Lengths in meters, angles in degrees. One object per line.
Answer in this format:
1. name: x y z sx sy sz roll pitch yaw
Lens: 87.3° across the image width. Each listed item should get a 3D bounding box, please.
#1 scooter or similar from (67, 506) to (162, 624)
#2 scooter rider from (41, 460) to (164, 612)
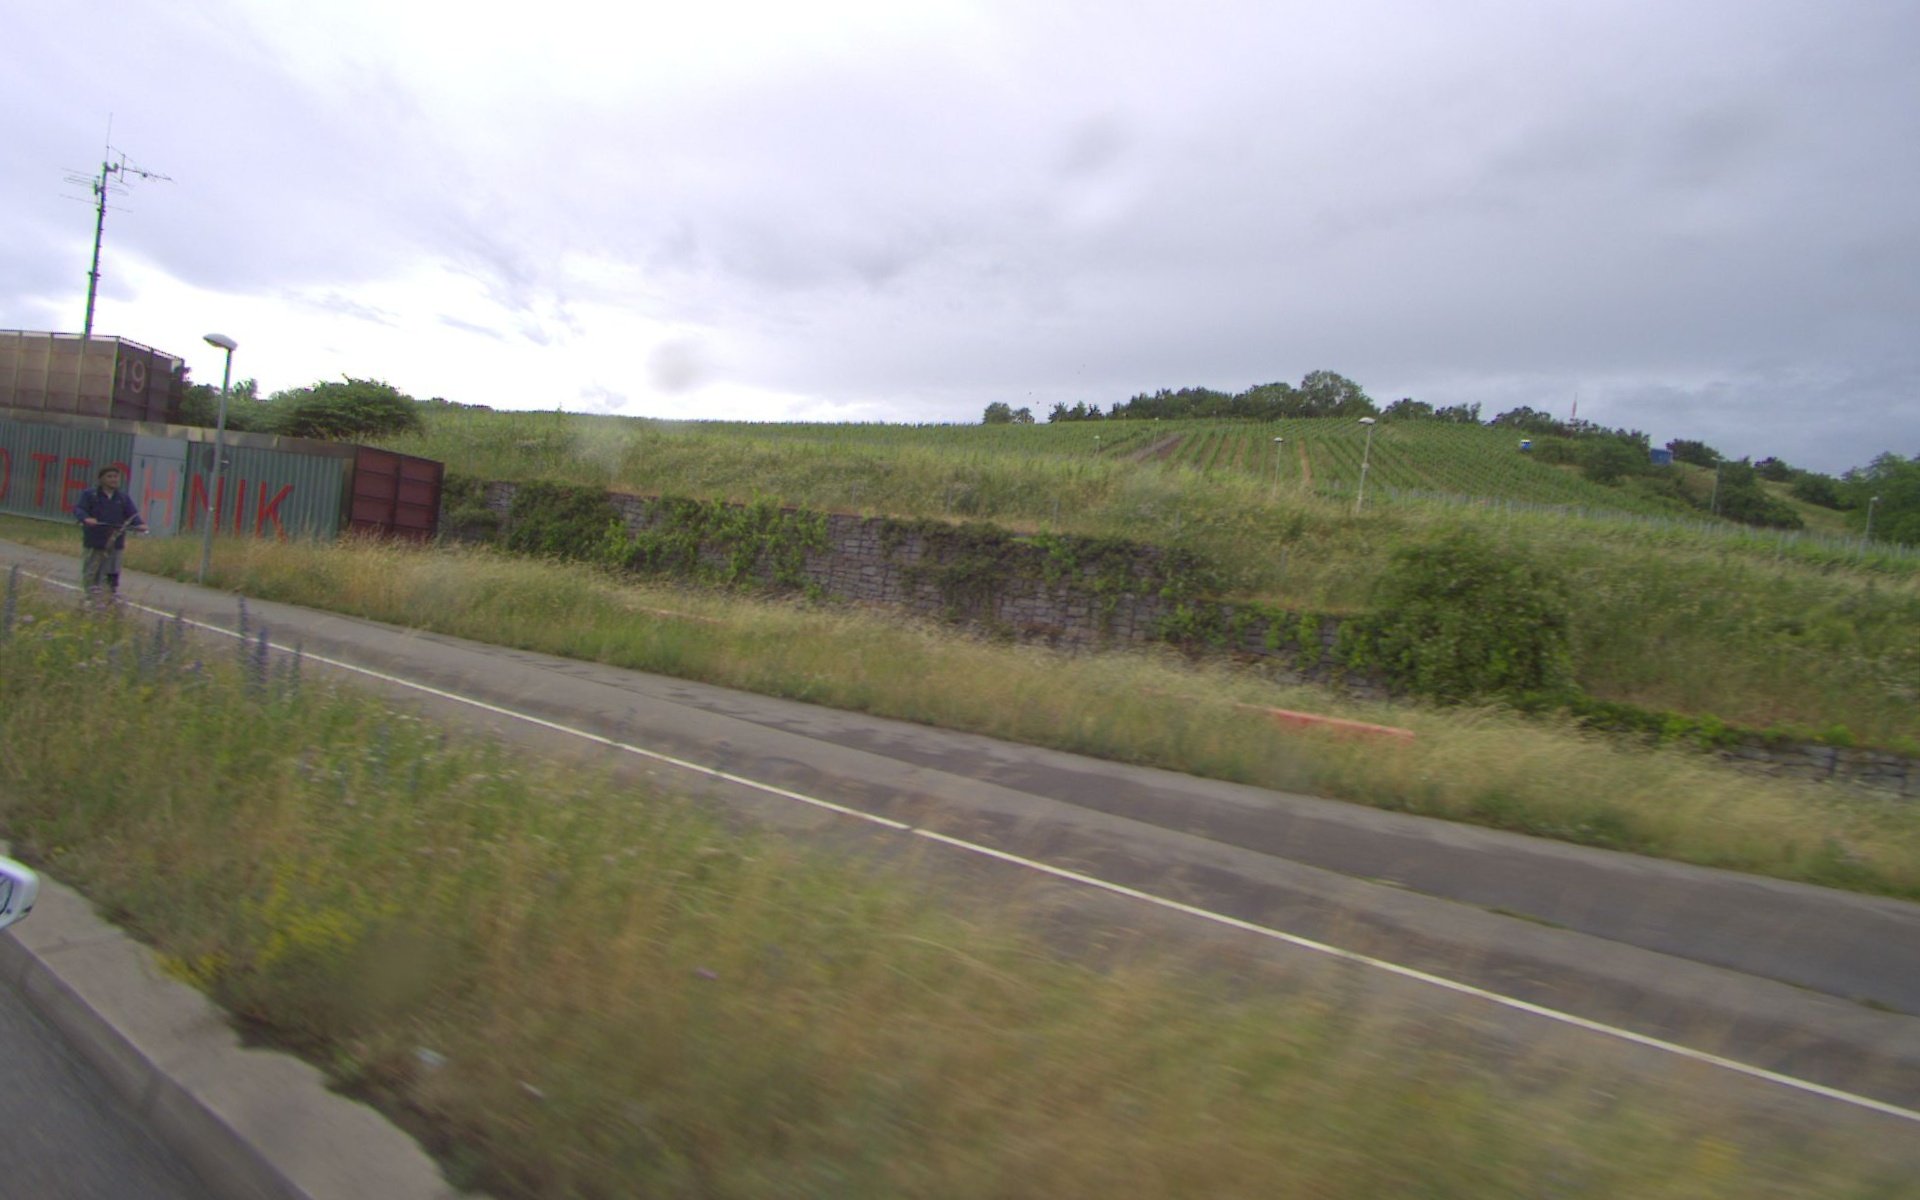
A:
1. scooter or similar: -9.784 -0.408 11.637 1.096 1.210 0.402 8 -1 33
2. scooter rider: -10.082 -0.739 11.833 0.815 1.649 0.806 7 2 32
